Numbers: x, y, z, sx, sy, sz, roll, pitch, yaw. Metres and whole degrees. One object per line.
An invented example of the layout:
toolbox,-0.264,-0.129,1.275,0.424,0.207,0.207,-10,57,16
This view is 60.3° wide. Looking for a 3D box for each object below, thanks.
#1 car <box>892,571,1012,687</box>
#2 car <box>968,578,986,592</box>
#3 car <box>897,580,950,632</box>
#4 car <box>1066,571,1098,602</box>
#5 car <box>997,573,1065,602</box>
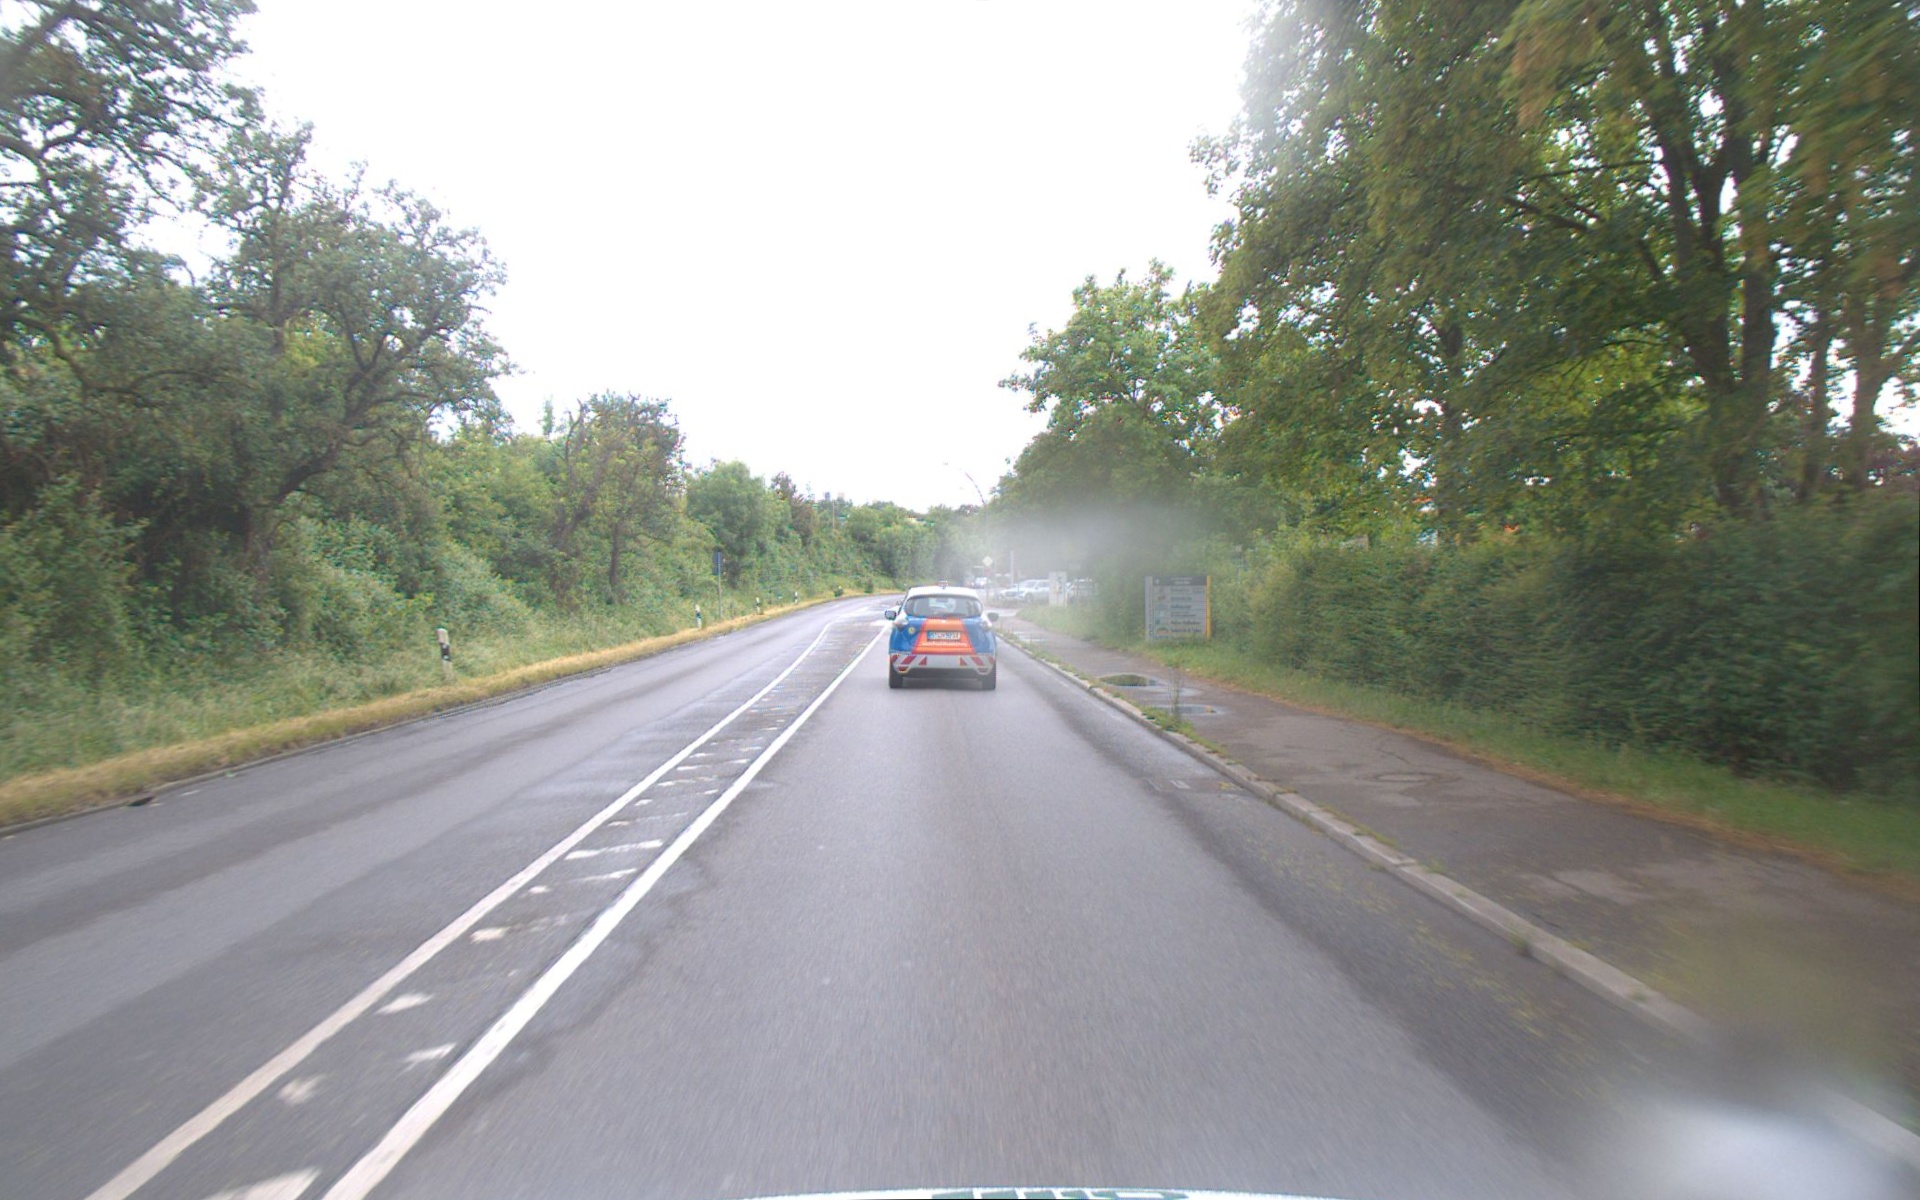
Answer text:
car,-0.171,0.436,26.929,1.769,1.697,3.854,2,0,-2
car,2.310,-2.003,223.676,1.658,1.822,3.859,2,0,11
car,-1.190,0.208,55.230,1.659,1.623,3.855,2,0,-1
car,7.893,-0.858,106.944,1.788,1.861,4.264,2,0,1
car,4.717,-0.813,109.604,2.001,1.782,4.587,1,0,44
